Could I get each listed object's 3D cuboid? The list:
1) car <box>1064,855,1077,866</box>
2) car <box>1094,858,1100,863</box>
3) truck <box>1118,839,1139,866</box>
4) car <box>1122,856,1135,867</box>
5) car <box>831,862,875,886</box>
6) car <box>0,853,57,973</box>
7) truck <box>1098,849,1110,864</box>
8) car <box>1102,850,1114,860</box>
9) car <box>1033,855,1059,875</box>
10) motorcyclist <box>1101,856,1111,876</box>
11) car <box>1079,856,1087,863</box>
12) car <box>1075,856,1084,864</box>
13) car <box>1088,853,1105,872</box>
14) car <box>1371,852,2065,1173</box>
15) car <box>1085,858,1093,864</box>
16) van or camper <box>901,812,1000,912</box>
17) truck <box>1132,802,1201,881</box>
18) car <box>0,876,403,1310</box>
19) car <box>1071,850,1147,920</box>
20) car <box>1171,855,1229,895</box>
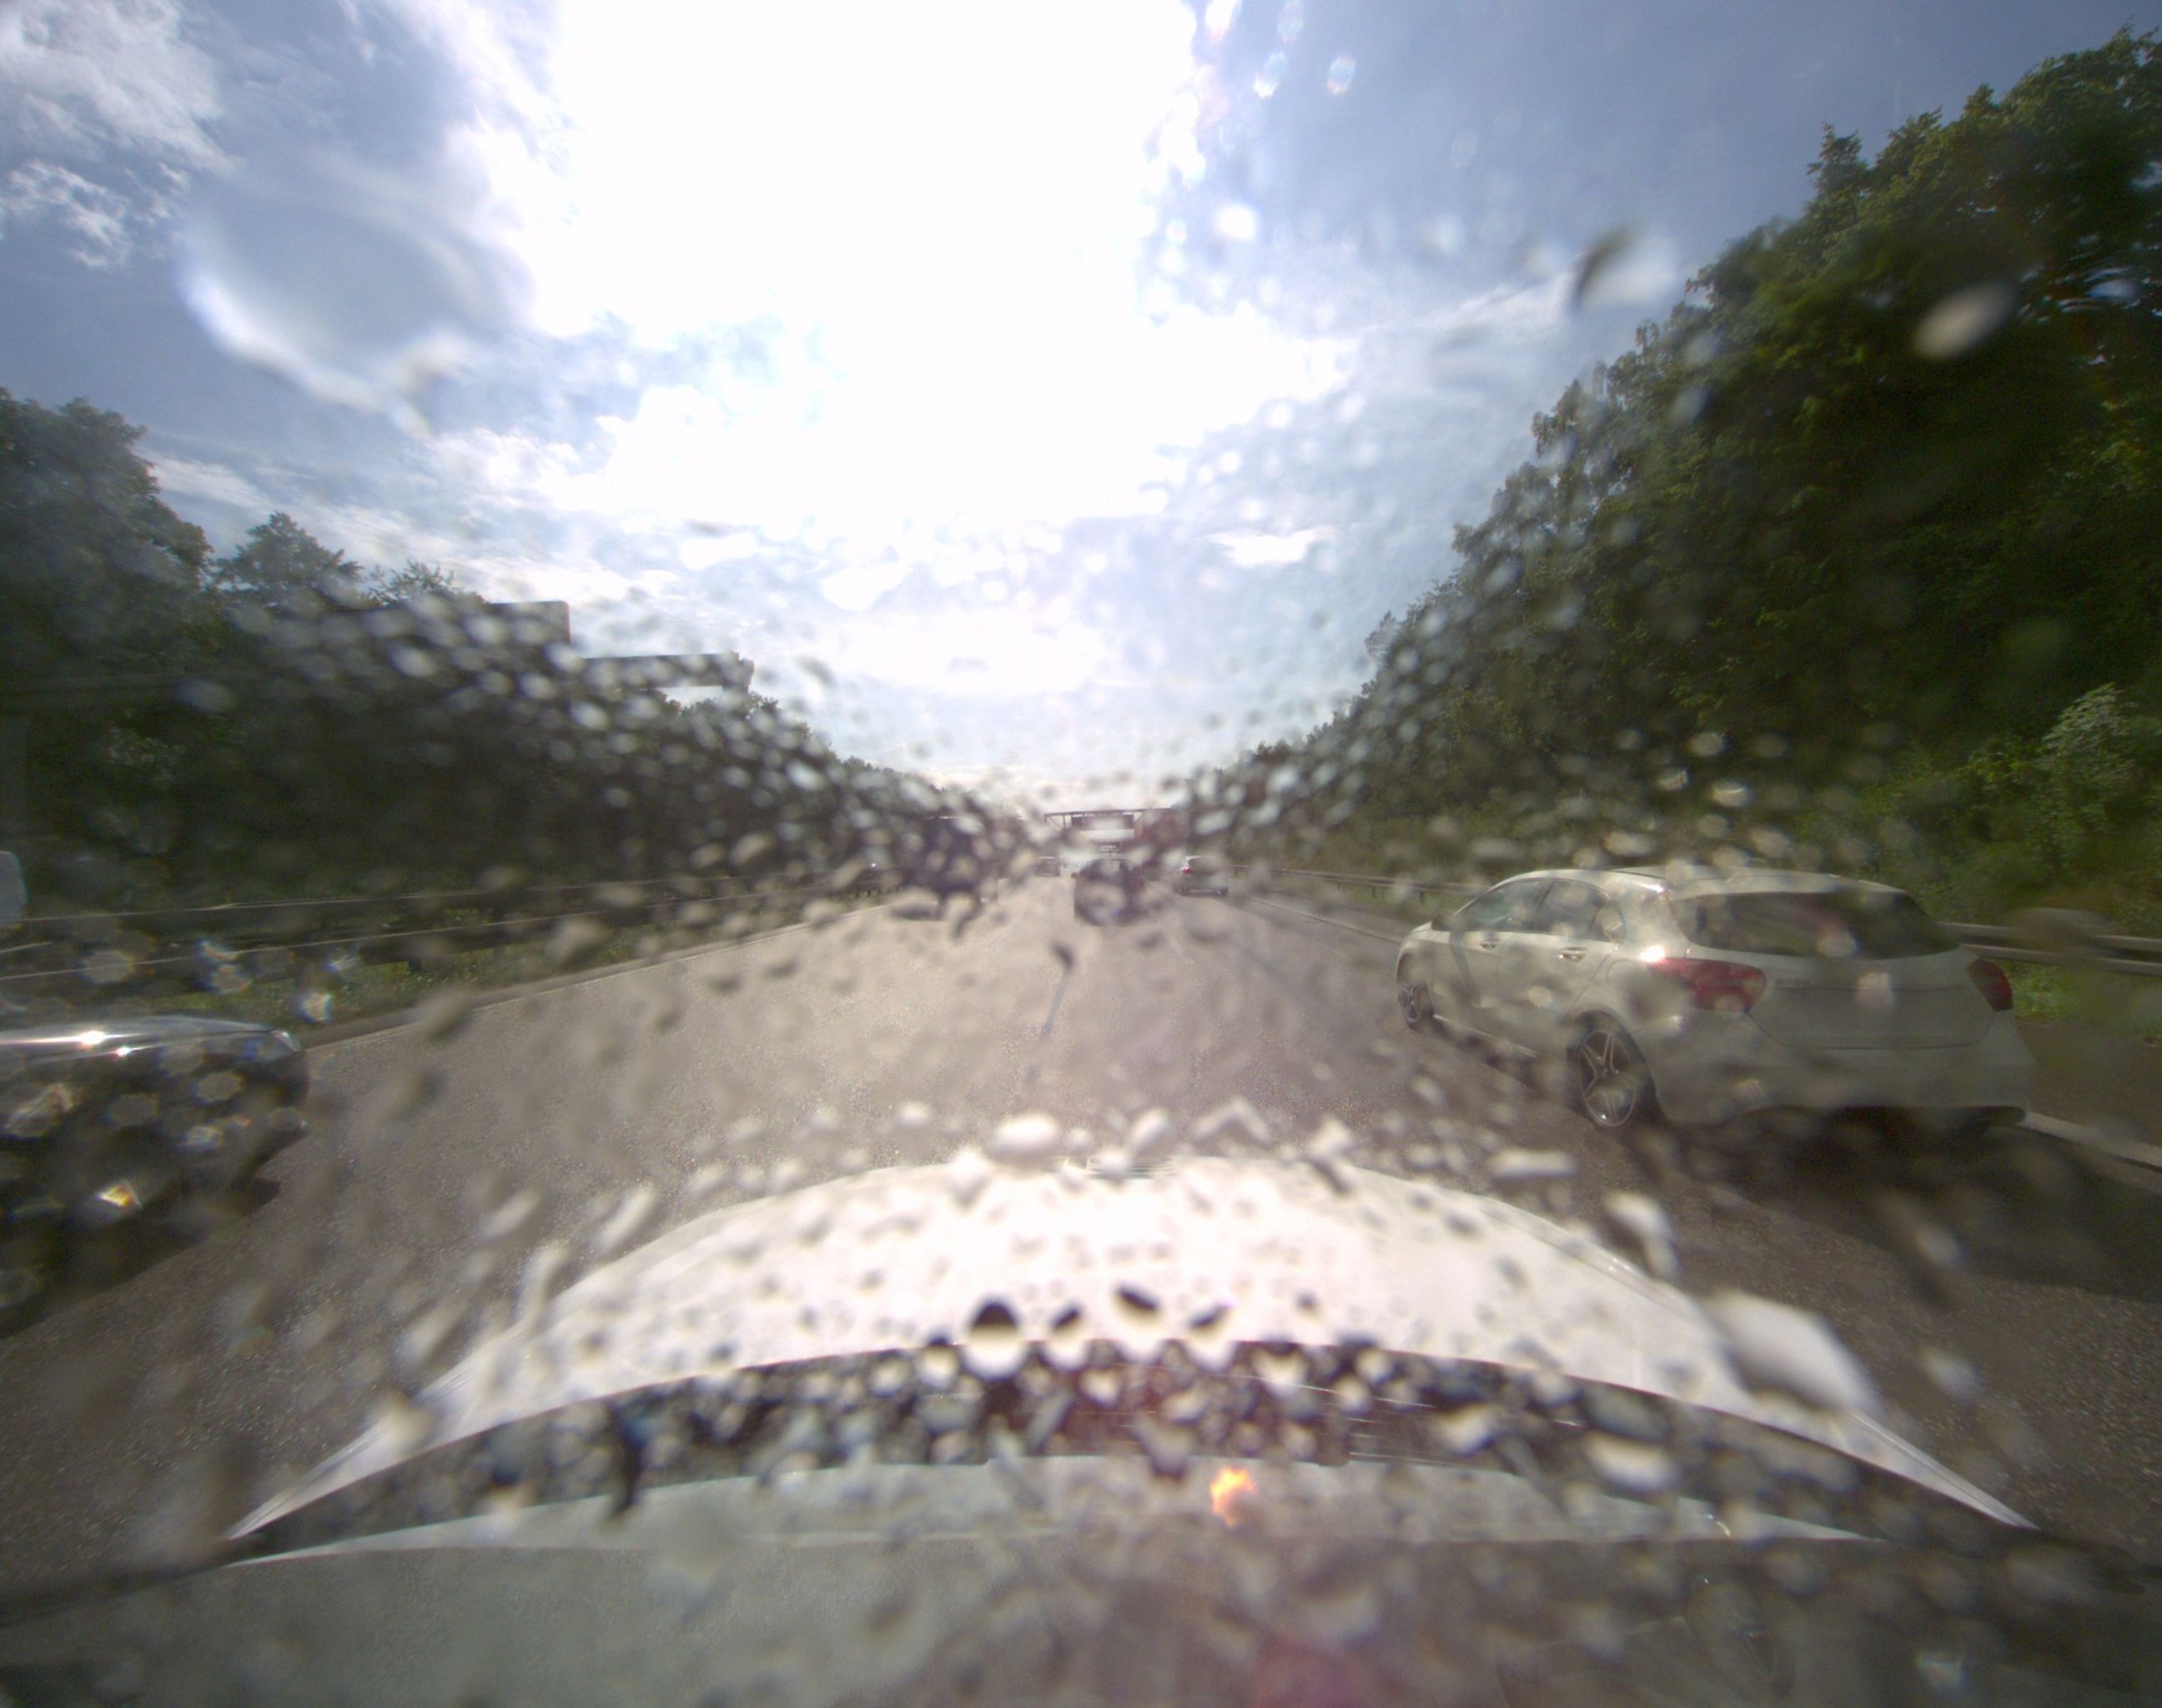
[{"bbox_3d":[-1.352,0.860,107.699,1.745,1.457,3.389,0,0,0],"label":"car"},{"bbox_3d":[4.378,1.659,218.040,1.544,1.267,3.483,0,0,0],"label":"car"},{"bbox_3d":[8.049,-0.220,138.861,3.244,4.479,12.426,0,0,2],"label":"truck"},{"bbox_3d":[6.413,0.992,110.408,1.548,1.383,3.209,0,0,0],"label":"car"},{"bbox_3d":[-16.551,1.411,59.234,1.986,1.675,4.001,0,0,2],"label":"car"},{"bbox_3d":[-21.334,1.097,13.056,2.137,2.249,5.982,0,0,2],"label":"car"},{"bbox_3d":[4.467,0.508,158.095,2.185,2.875,4.849,0,0,0],"label":"truck"},{"bbox_3d":[3.684,0.121,113.273,1.548,1.383,3.209,0,0,0],"label":"car"},{"bbox_3d":[-2.669,0.829,62.839,1.849,1.551,3.484,0,0,0],"label":"car"},{"bbox_3d":[2.089,0.983,68.190,0.799,1.633,1.013,0,-1,0],"label":"motorcyclist"},{"bbox_3d":[0.337,1.039,153.817,1.510,1.390,3.272,0,0,0],"label":"car"},{"bbox_3d":[-0.185,0.971,133.503,1.455,1.393,3.311,0,0,0],"label":"car"},{"bbox_3d":[1.438,0.757,75.297,1.526,1.746,3.484,0,0,0],"label":"car"},{"bbox_3d":[3.589,0.720,5.746,1.686,1.425,4.221,0,0,2],"label":"car"},{"bbox_3d":[1.763,1.468,179.787,1.544,1.267,3.483,0,0,0],"label":"car"},{"bbox_3d":[-3.778,0.230,24.591,1.986,2.669,5.386,0,0,2],"label":"van or camper"},{"bbox_3d":[5.638,-0.711,57.078,3.636,4.720,16.785,0,0,2],"label":"truck"},{"bbox_3d":[-4.529,0.816,1.890,1.788,1.419,4.840,0,0,1],"label":"car"},{"bbox_3d":[0.633,0.710,20.240,1.712,1.568,3.484,0,0,0],"label":"car"},{"bbox_3d":[4.522,0.773,31.385,1.675,1.442,3.904,0,0,0],"label":"car"}]
